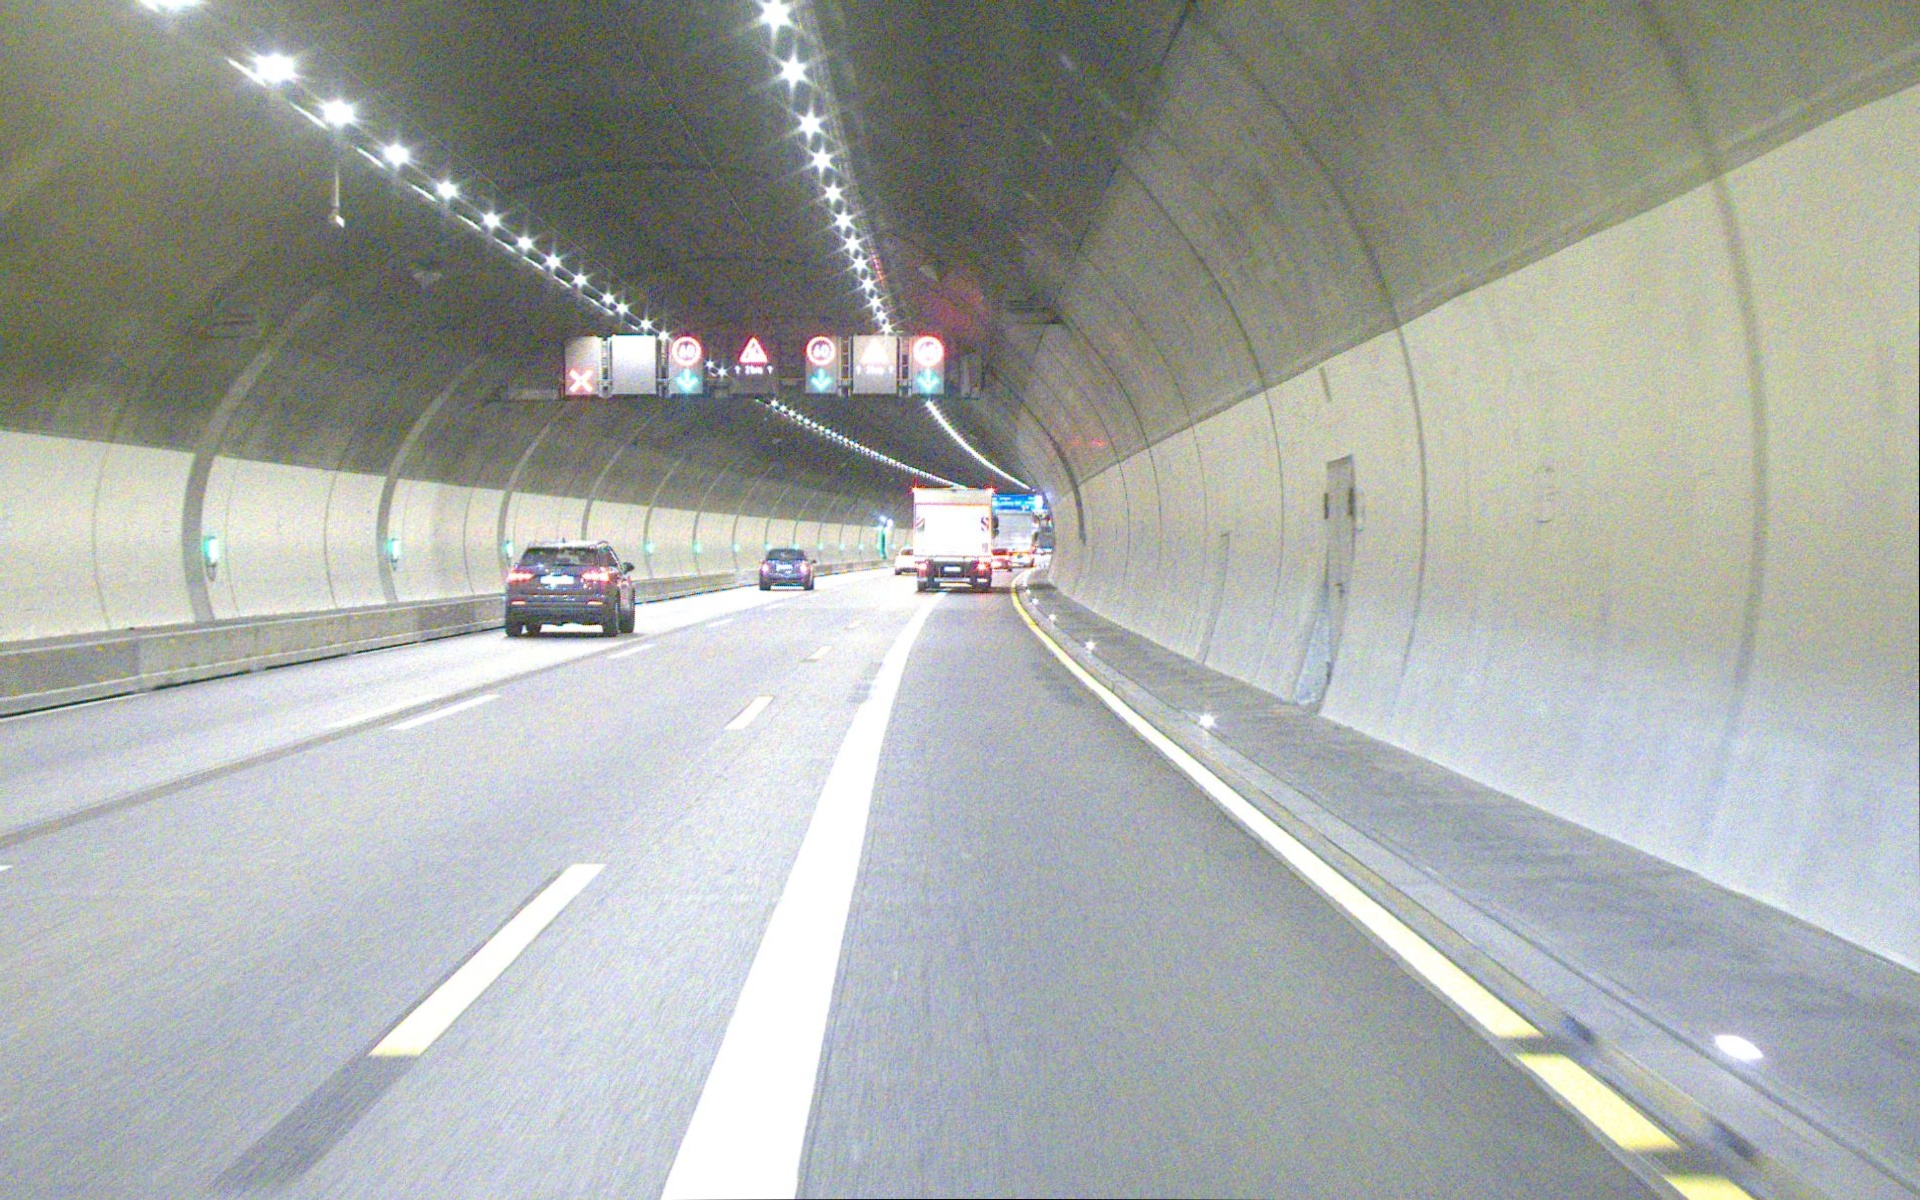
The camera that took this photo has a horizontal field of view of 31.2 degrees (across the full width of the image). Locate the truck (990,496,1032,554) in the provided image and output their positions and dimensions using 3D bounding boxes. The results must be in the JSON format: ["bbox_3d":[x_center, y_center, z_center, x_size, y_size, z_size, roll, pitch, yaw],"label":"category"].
[{"bbox_3d":[3.718,-5.362,247.425,2.923,4.034,14.029,0,1,1],"label":"truck"}]

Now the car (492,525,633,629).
[{"bbox_3d":[-6.514,-0.417,56.685,1.812,1.612,4.000,1,1,0],"label":"car"}]

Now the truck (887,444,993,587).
[{"bbox_3d":[-0.834,-2.948,119.914,3.278,4.634,17.289,0,1,-2],"label":"truck"}]

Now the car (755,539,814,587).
[{"bbox_3d":[-5.855,-1.253,114.950,1.812,1.515,4.001,1,2,-1],"label":"car"}]

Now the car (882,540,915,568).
[{"bbox_3d":[-3.156,-2.370,176.313,1.650,1.270,4.001,1,2,-1],"label":"car"}]
